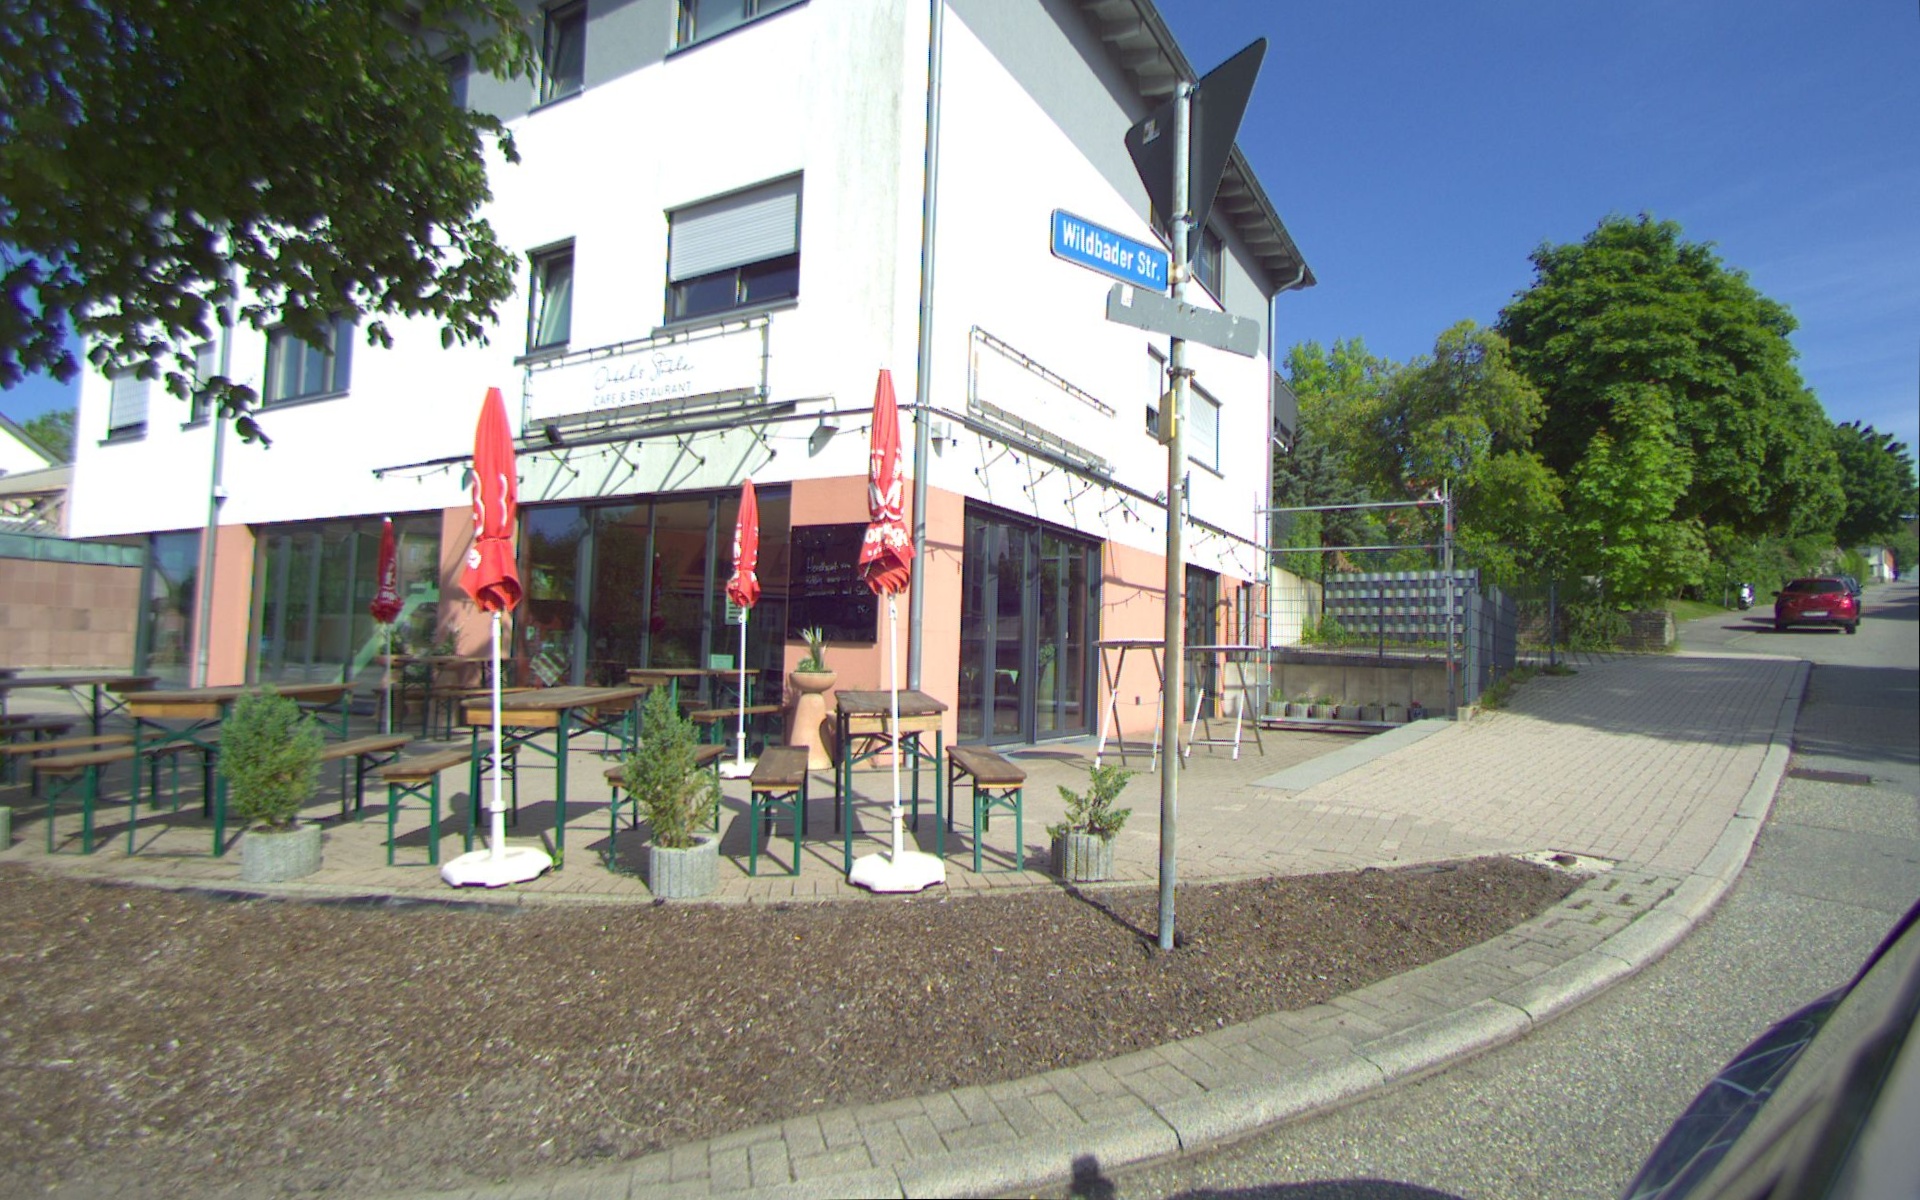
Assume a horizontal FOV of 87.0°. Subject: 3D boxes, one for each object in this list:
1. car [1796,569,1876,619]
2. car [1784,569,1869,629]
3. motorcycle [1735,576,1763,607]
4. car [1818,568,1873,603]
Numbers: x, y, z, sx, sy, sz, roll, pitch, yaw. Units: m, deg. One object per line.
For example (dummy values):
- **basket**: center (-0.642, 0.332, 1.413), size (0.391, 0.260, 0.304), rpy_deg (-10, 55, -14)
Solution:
- **car**: center (27.663, -0.209, 31.925), size (1.770, 1.489, 3.752), rpy_deg (0, 1, 43)
- **car**: center (23.900, -0.059, 27.871), size (1.619, 1.517, 3.752), rpy_deg (0, 1, 43)
- **motorcycle**: center (31.788, -0.345, 40.760), size (0.782, 1.196, 2.156), rpy_deg (0, 1, 41)
- **car**: center (39.846, -0.663, 45.512), size (1.770, 1.489, 3.752), rpy_deg (0, 1, 43)
